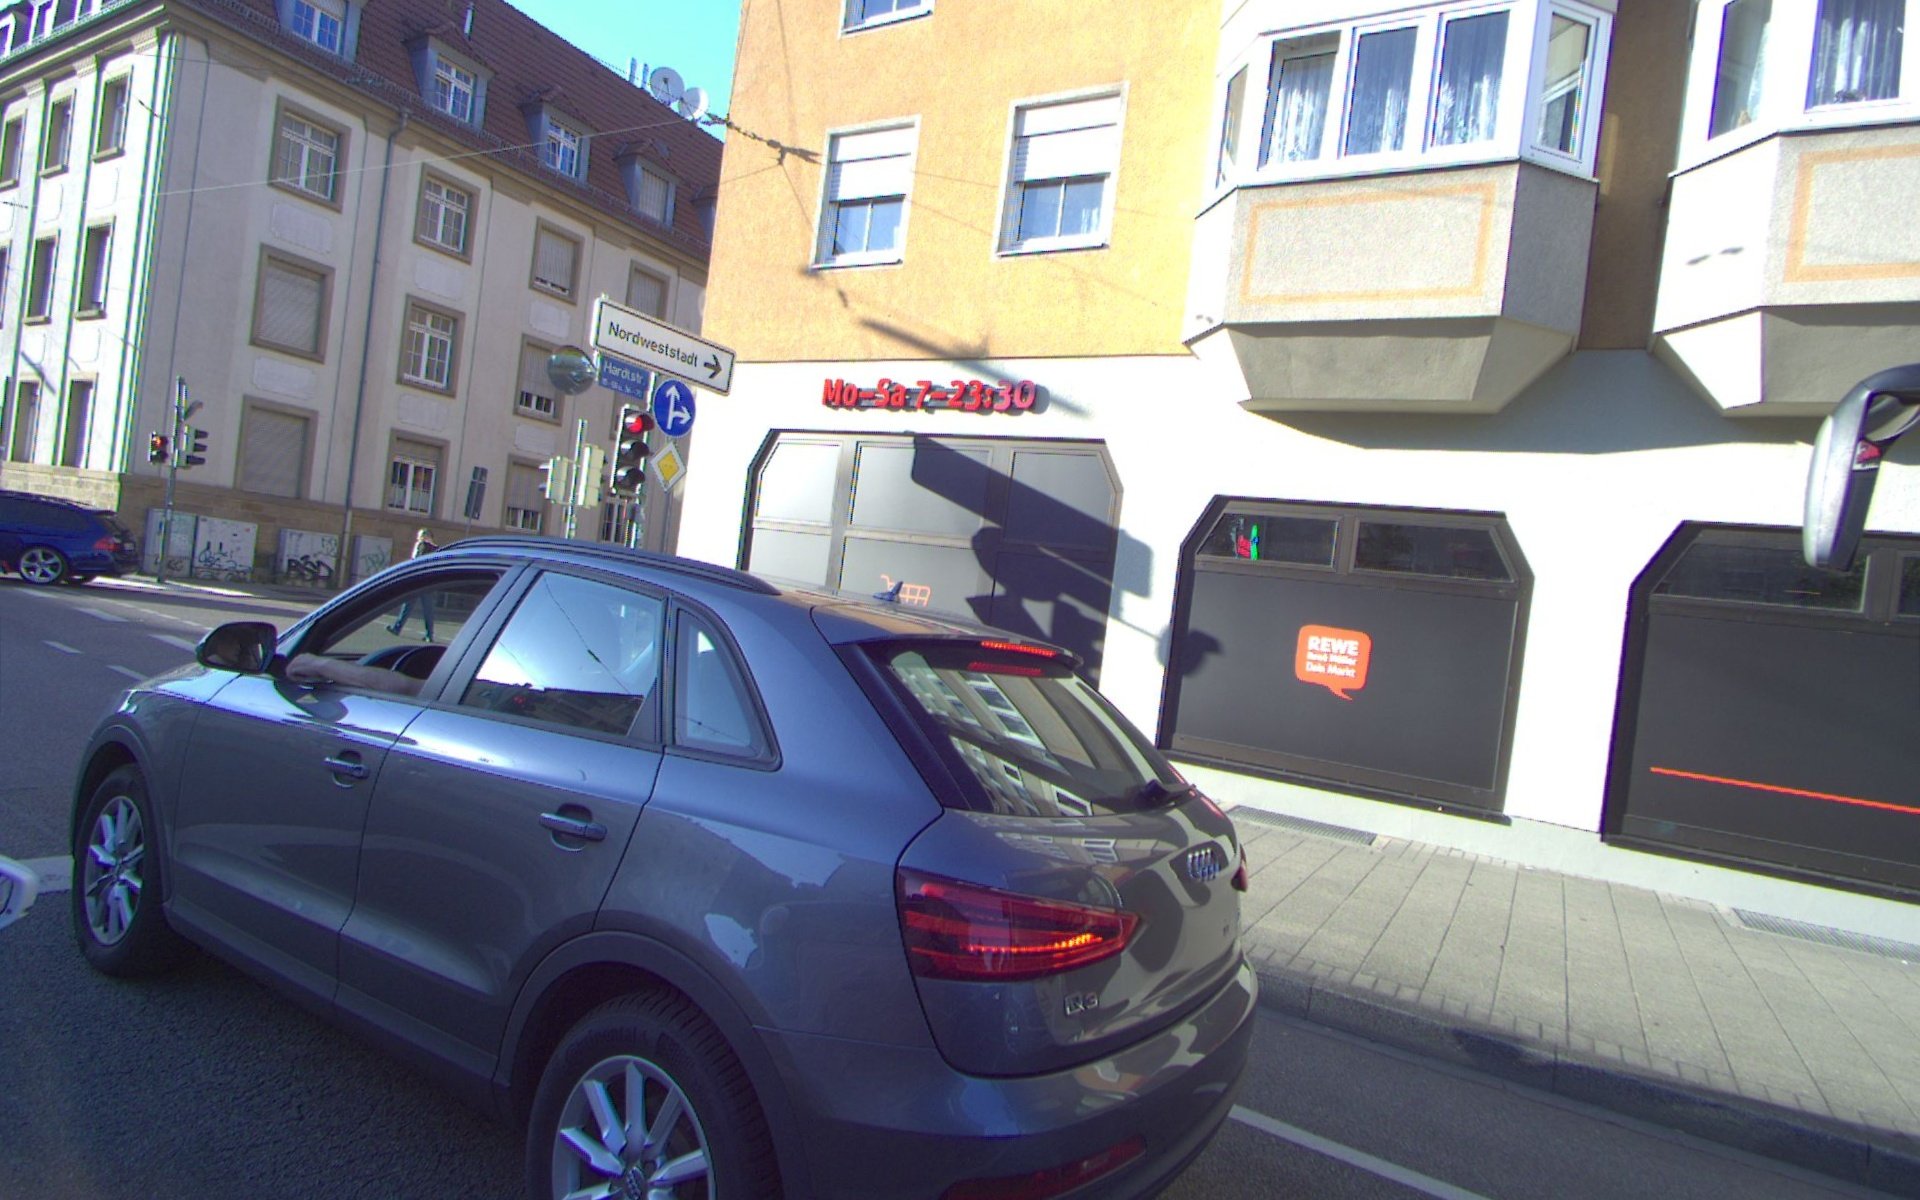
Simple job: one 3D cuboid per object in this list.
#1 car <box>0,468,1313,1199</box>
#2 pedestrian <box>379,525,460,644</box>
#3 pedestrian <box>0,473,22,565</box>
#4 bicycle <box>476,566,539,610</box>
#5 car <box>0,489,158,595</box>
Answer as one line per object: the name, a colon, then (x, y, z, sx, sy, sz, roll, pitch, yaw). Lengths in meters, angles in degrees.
car: (-1.253, 0.603, 3.306, 4.155, 1.570, 1.702, 7, -3, 32)
pedestrian: (-8.640, -0.247, 16.072, 0.812, 1.778, 0.630, 6, -1, 32)
pedestrian: (-19.426, -1.667, 19.959, 0.810, 1.783, 0.837, 6, -1, 31)
bicycle: (-12.531, -0.332, 27.897, 1.499, 1.029, 0.247, 9, -2, -43)
car: (-16.246, -1.121, 16.591, 4.278, 1.473, 1.920, 9, -2, -27)
